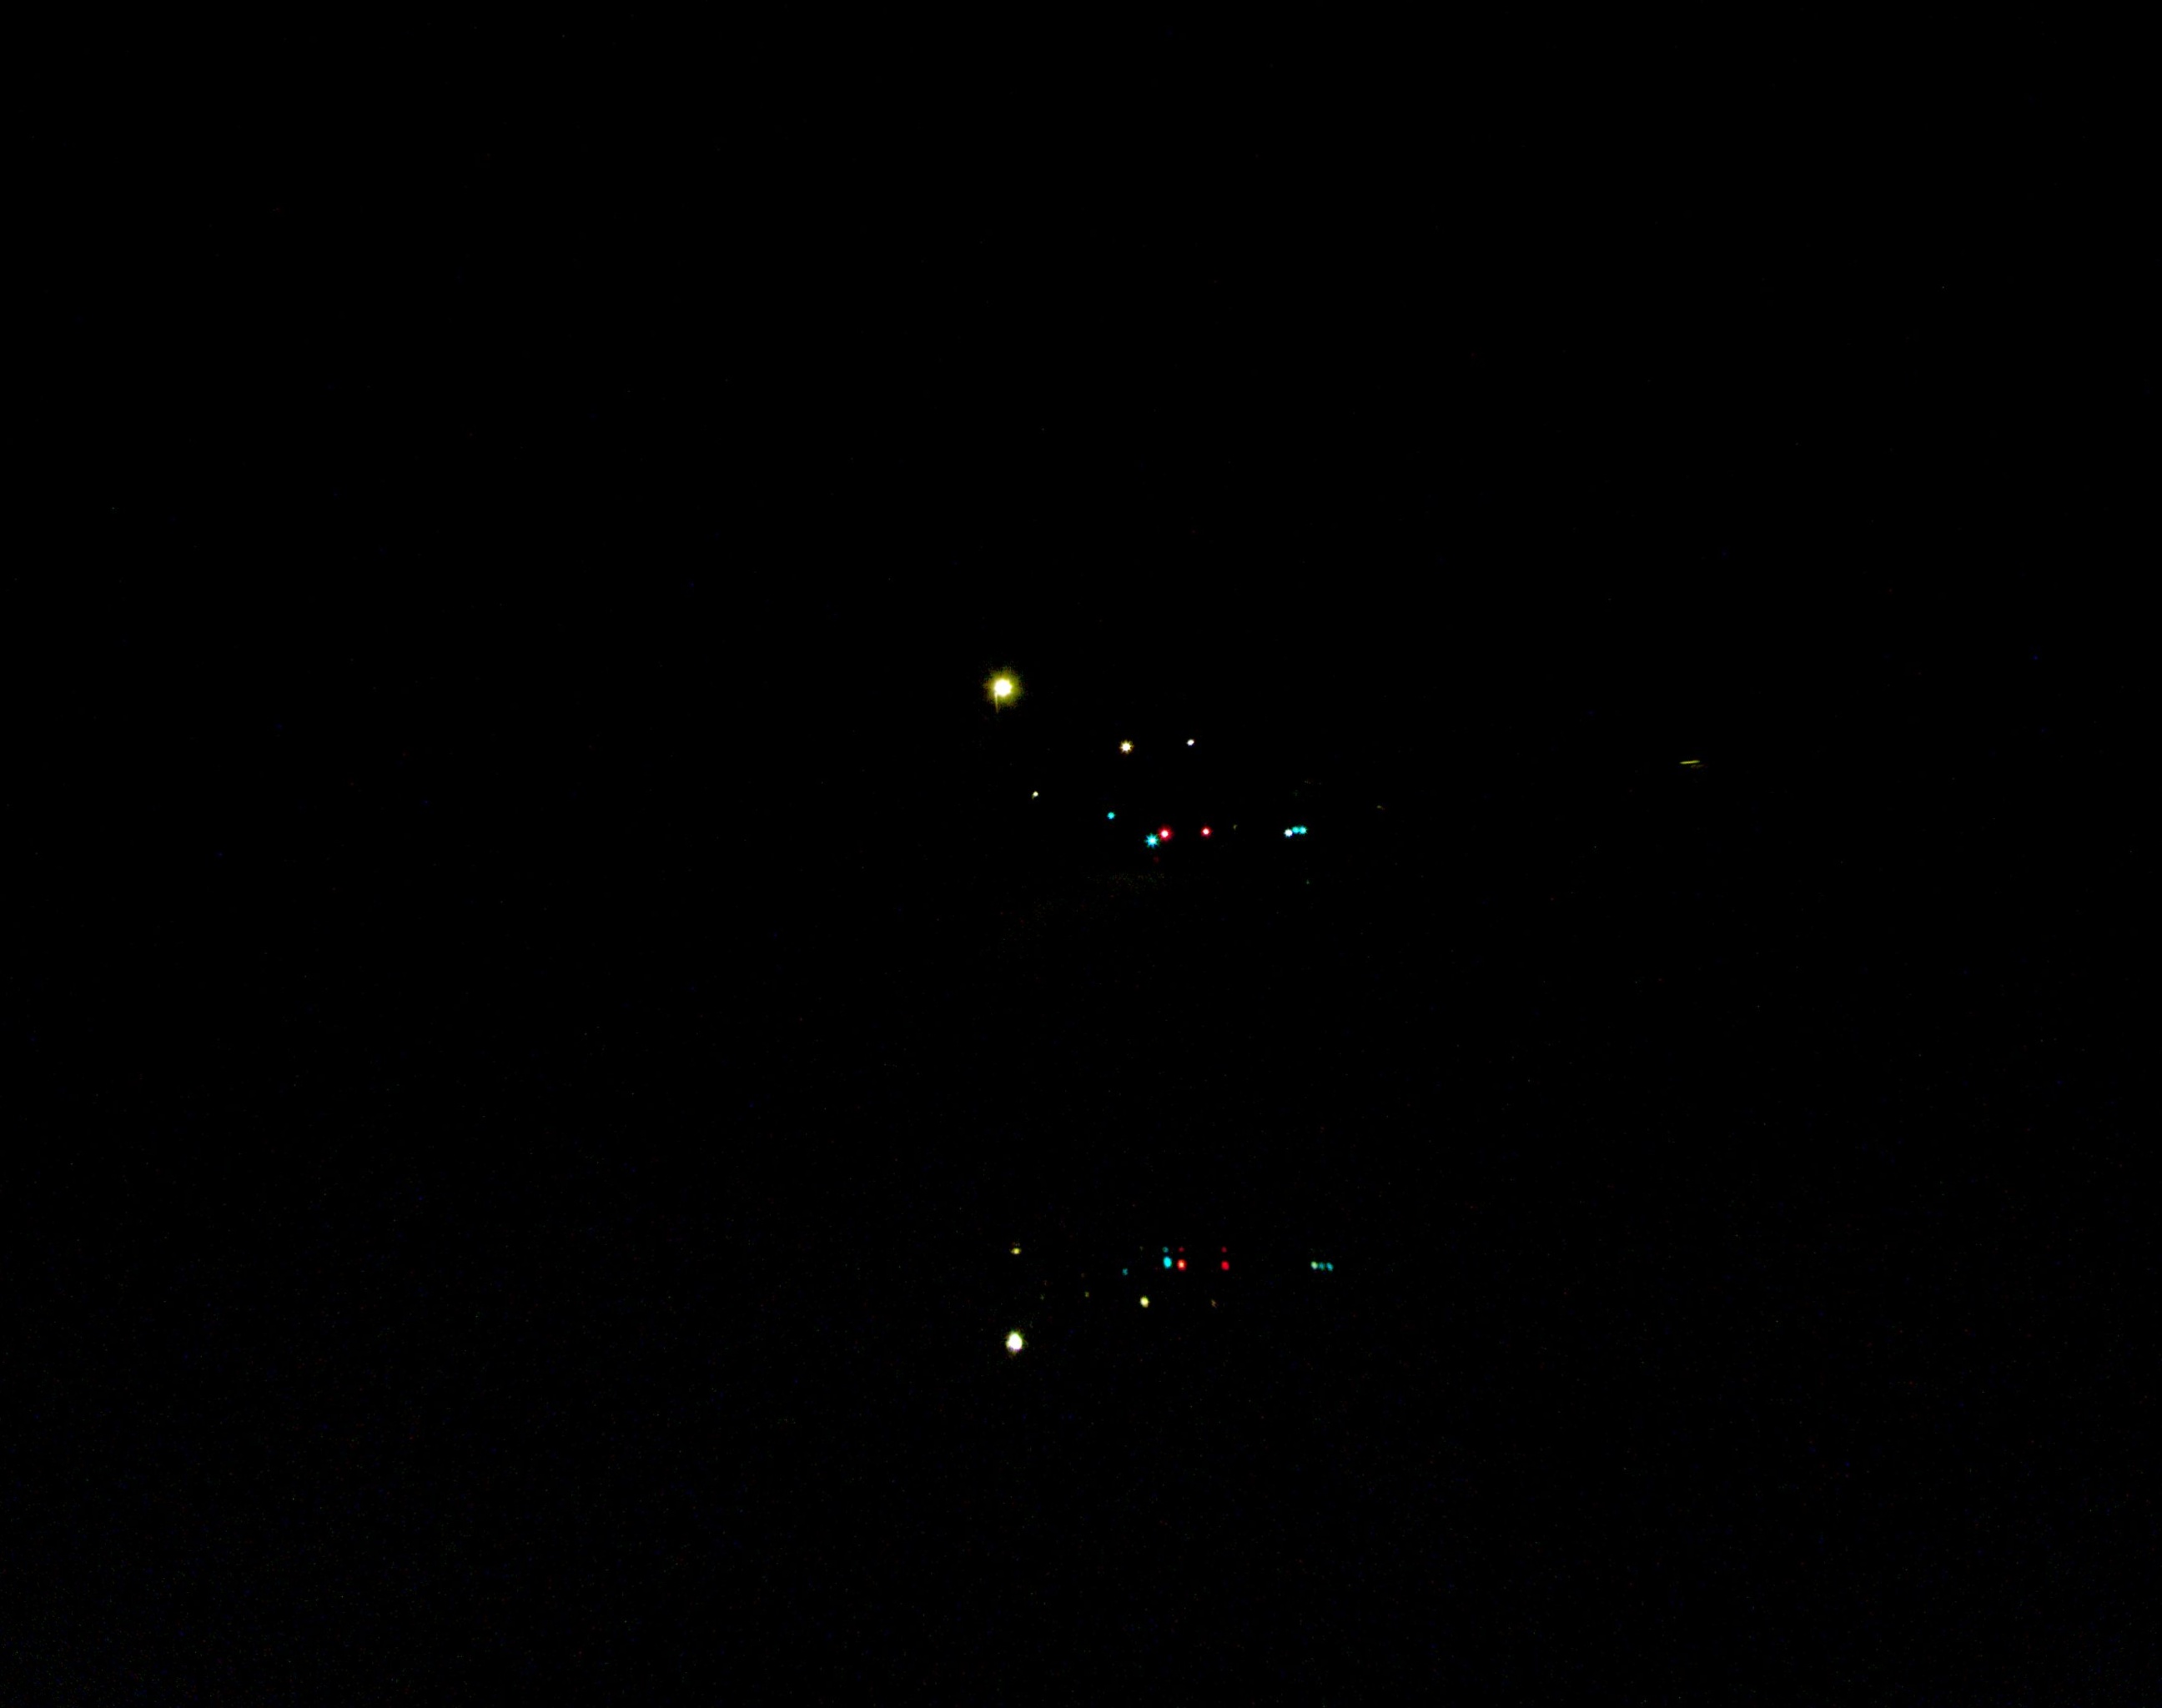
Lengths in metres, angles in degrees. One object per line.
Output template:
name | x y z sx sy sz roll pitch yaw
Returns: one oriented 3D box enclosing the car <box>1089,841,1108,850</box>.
car | 4.139 -1.967 178.443 4.004 1.600 1.753 -6 4 -30
